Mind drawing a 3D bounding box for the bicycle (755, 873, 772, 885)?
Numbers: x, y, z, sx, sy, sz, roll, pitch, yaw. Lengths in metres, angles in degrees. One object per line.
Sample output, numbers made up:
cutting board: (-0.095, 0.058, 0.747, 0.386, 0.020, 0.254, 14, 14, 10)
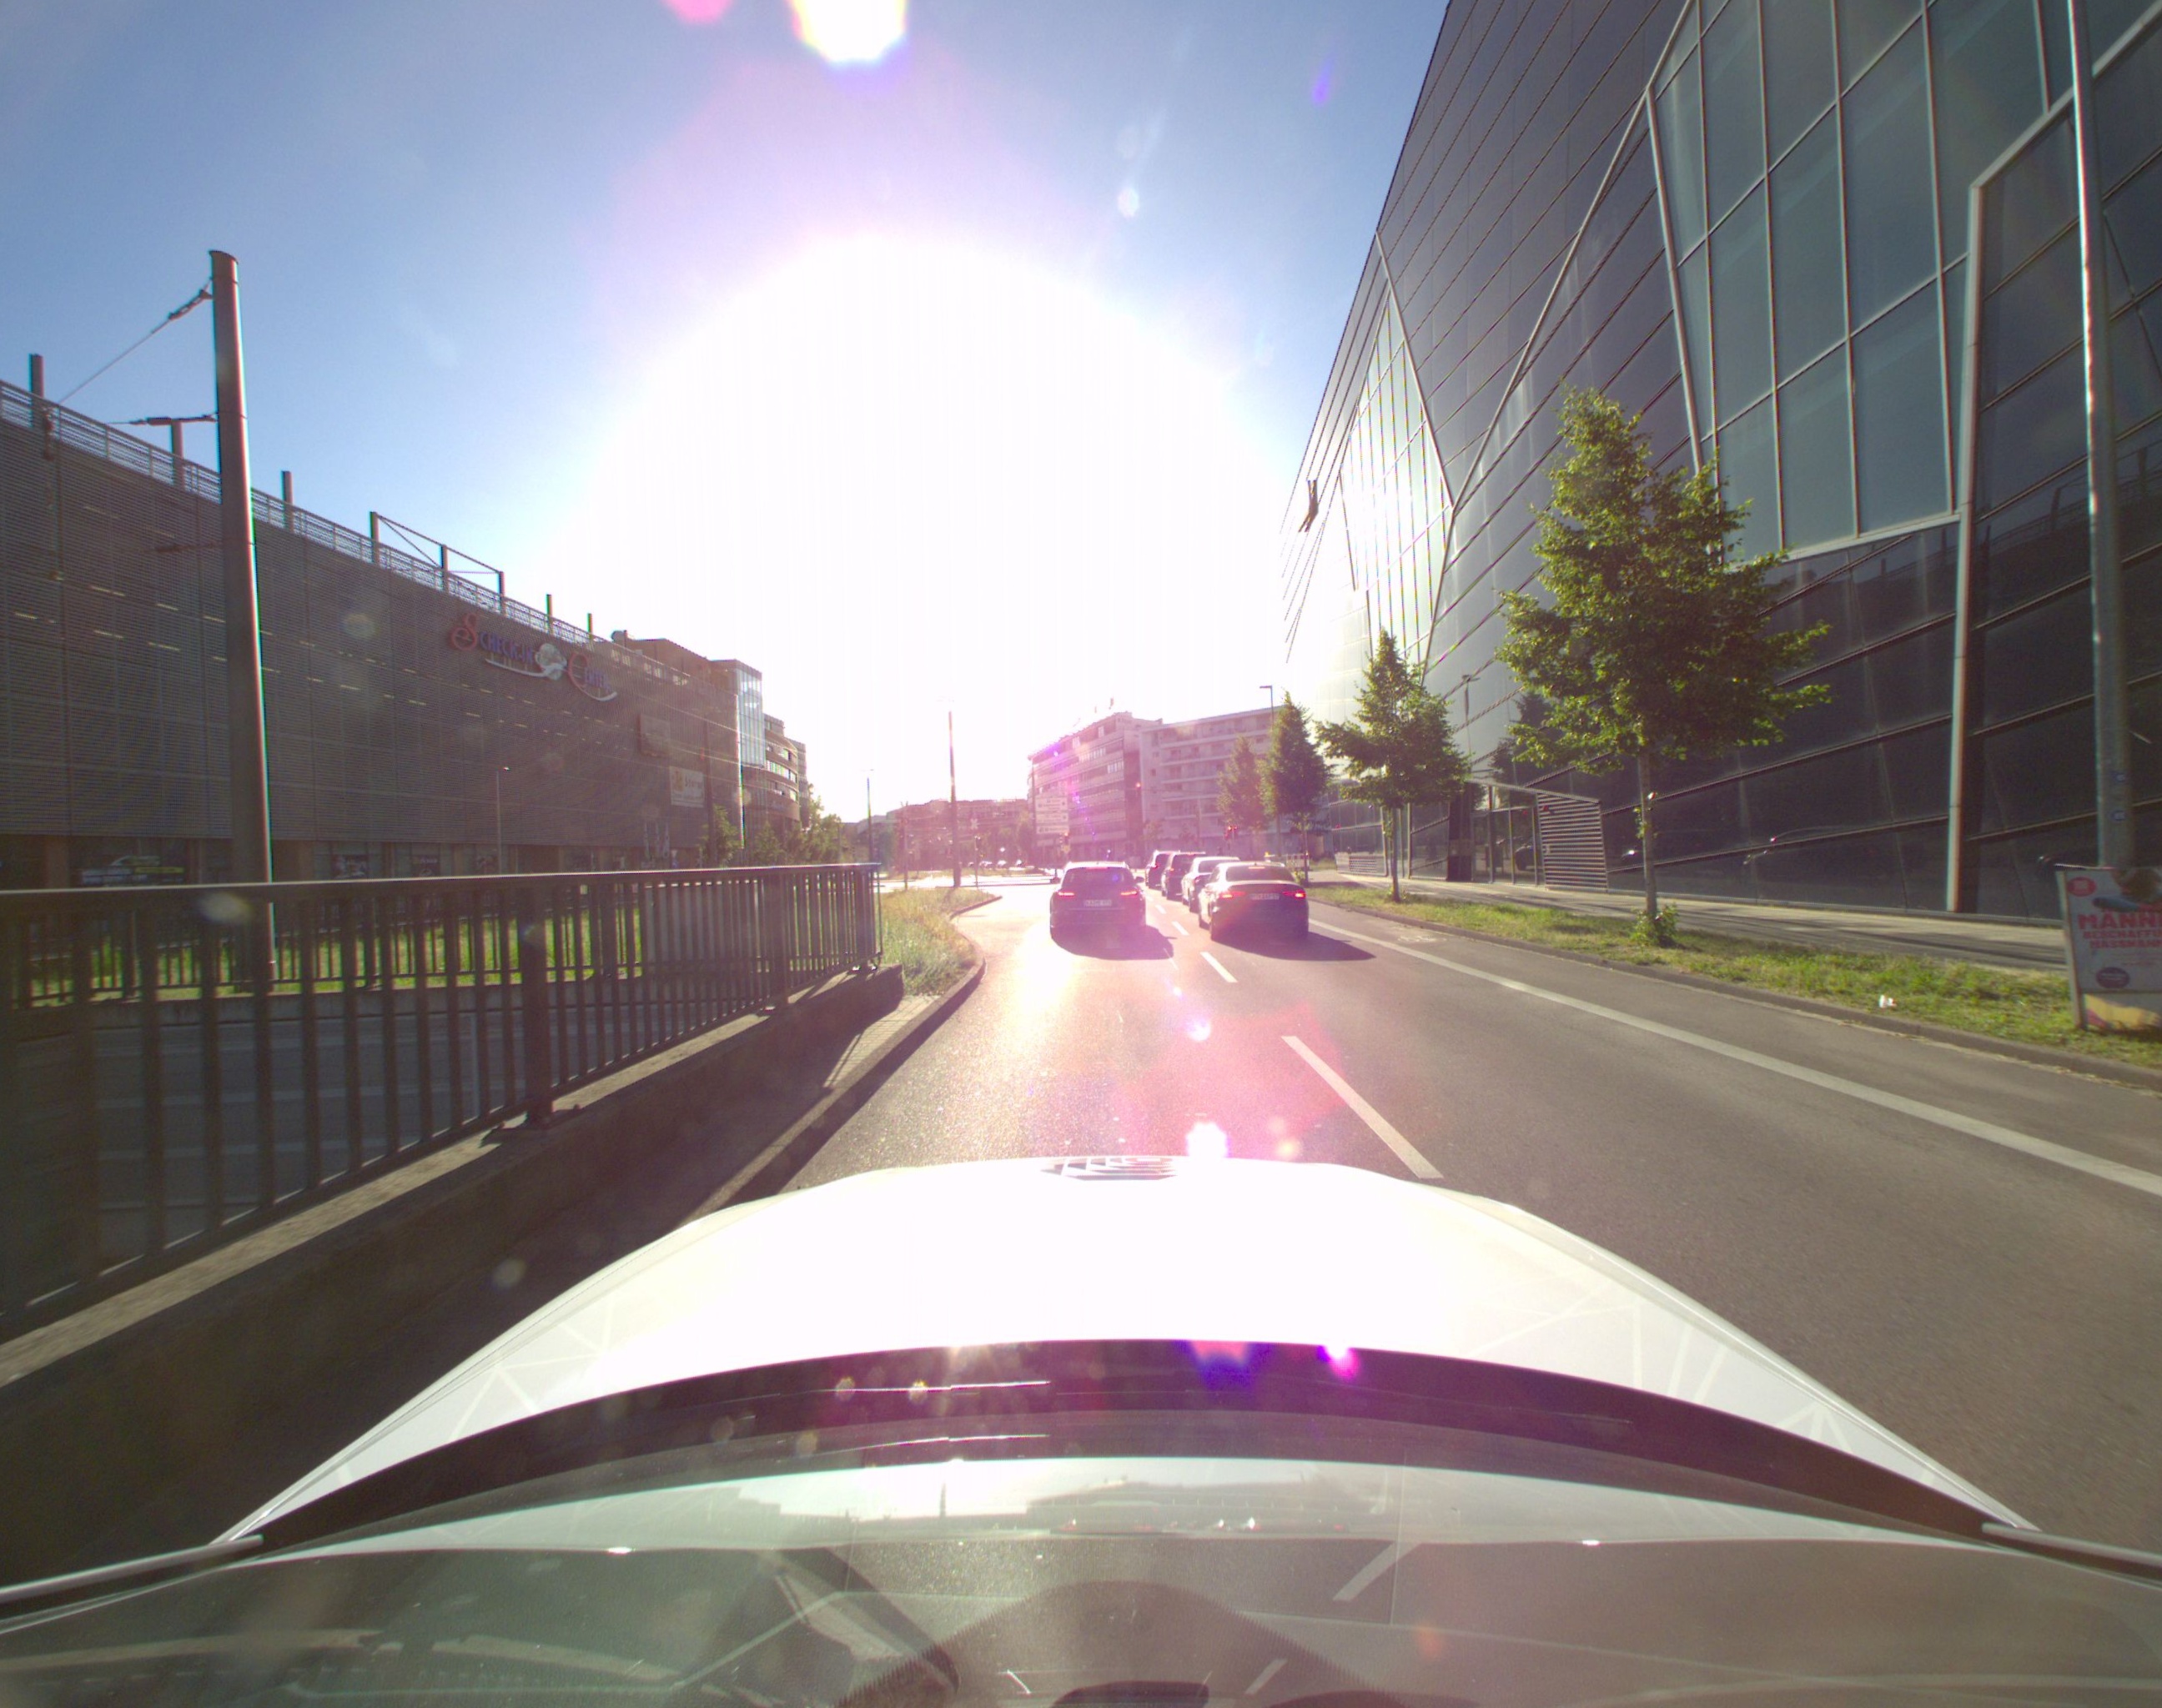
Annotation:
bicycle: (-42.085, 3.324, 107.892, 1.965, 1.433, 0.809, -4, -1, 10)

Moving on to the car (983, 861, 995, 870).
car: (-19.173, 2.436, 169.370, 1.996, 1.596, 3.981, -3, -1, -13)

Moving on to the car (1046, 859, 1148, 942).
car: (0.352, 0.852, 16.789, 1.835, 1.454, 4.002, -1, 0, 2)

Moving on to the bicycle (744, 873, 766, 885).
bicycle: (-42.374, 3.285, 105.716, 2.355, 1.433, 1.079, -4, -1, 10)

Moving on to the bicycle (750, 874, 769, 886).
bicycle: (-42.161, 3.380, 106.800, 2.070, 1.433, 0.863, -4, -1, 10)

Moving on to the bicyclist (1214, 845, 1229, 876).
bicyclist: (7.601, 0.362, 44.081, 0.651, 1.642, 0.973, -2, 0, 5)

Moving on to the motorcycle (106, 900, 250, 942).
motorcycle: (-41.032, 3.007, 37.174, 1.986, 1.453, 4.002, -3, 0, 2)

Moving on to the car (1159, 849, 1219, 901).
car: (3.843, 0.737, 29.534, 1.739, 1.696, 4.263, -2, -1, 2)

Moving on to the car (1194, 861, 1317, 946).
car: (3.244, 0.856, 15.927, 1.738, 1.392, 4.268, -1, -1, 4)

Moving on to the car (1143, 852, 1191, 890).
car: (4.075, 0.770, 39.419, 1.995, 1.715, 4.374, -1, 0, 2)

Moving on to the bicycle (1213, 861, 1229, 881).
bicycle: (7.585, 0.901, 44.080, 0.651, 1.043, 1.932, -2, 0, 5)

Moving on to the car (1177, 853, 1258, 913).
car: (3.794, 0.770, 23.394, 1.738, 1.481, 4.632, -2, -1, 3)

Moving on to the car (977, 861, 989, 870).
car: (-21.206, 2.546, 176.027, 1.998, 1.706, 3.977, -3, -1, -16)

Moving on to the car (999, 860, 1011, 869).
car: (-15.553, 2.219, 167.122, 1.995, 1.596, 3.982, -3, -1, -12)

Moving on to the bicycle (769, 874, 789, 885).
bicycle: (-42.236, 3.599, 113.930, 2.545, 1.433, 0.907, -4, -1, 10)

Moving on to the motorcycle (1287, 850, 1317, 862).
motorcycle: (20.651, 0.215, 76.199, 2.445, 1.000, 1.171, -3, -1, -1)

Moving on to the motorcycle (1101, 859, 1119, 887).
motorcycle: (1.525, 0.954, 42.106, 0.859, 1.393, 1.894, -2, -1, 2)

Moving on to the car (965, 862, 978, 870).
car: (-23.537, 2.574, 174.738, 1.998, 1.706, 3.977, -3, -1, -16)

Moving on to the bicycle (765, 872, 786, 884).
bicycle: (-41.925, 3.300, 111.675, 2.545, 1.433, 0.907, -4, -1, 10)

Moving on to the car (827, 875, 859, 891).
car: (-26.306, 3.152, 90.187, 1.985, 1.545, 4.533, -3, 0, 3)

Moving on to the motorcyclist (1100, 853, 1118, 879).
motorcyclist: (1.460, 0.609, 42.025, 0.859, 1.326, 0.681, -2, -1, 2)

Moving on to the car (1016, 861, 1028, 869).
car: (-13.056, 2.388, 179.408, 1.995, 1.596, 3.982, -3, -1, -12)

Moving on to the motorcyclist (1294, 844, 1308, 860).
motorcyclist: (20.585, -0.201, 76.202, 0.922, 1.481, 1.171, -2, -1, -1)
